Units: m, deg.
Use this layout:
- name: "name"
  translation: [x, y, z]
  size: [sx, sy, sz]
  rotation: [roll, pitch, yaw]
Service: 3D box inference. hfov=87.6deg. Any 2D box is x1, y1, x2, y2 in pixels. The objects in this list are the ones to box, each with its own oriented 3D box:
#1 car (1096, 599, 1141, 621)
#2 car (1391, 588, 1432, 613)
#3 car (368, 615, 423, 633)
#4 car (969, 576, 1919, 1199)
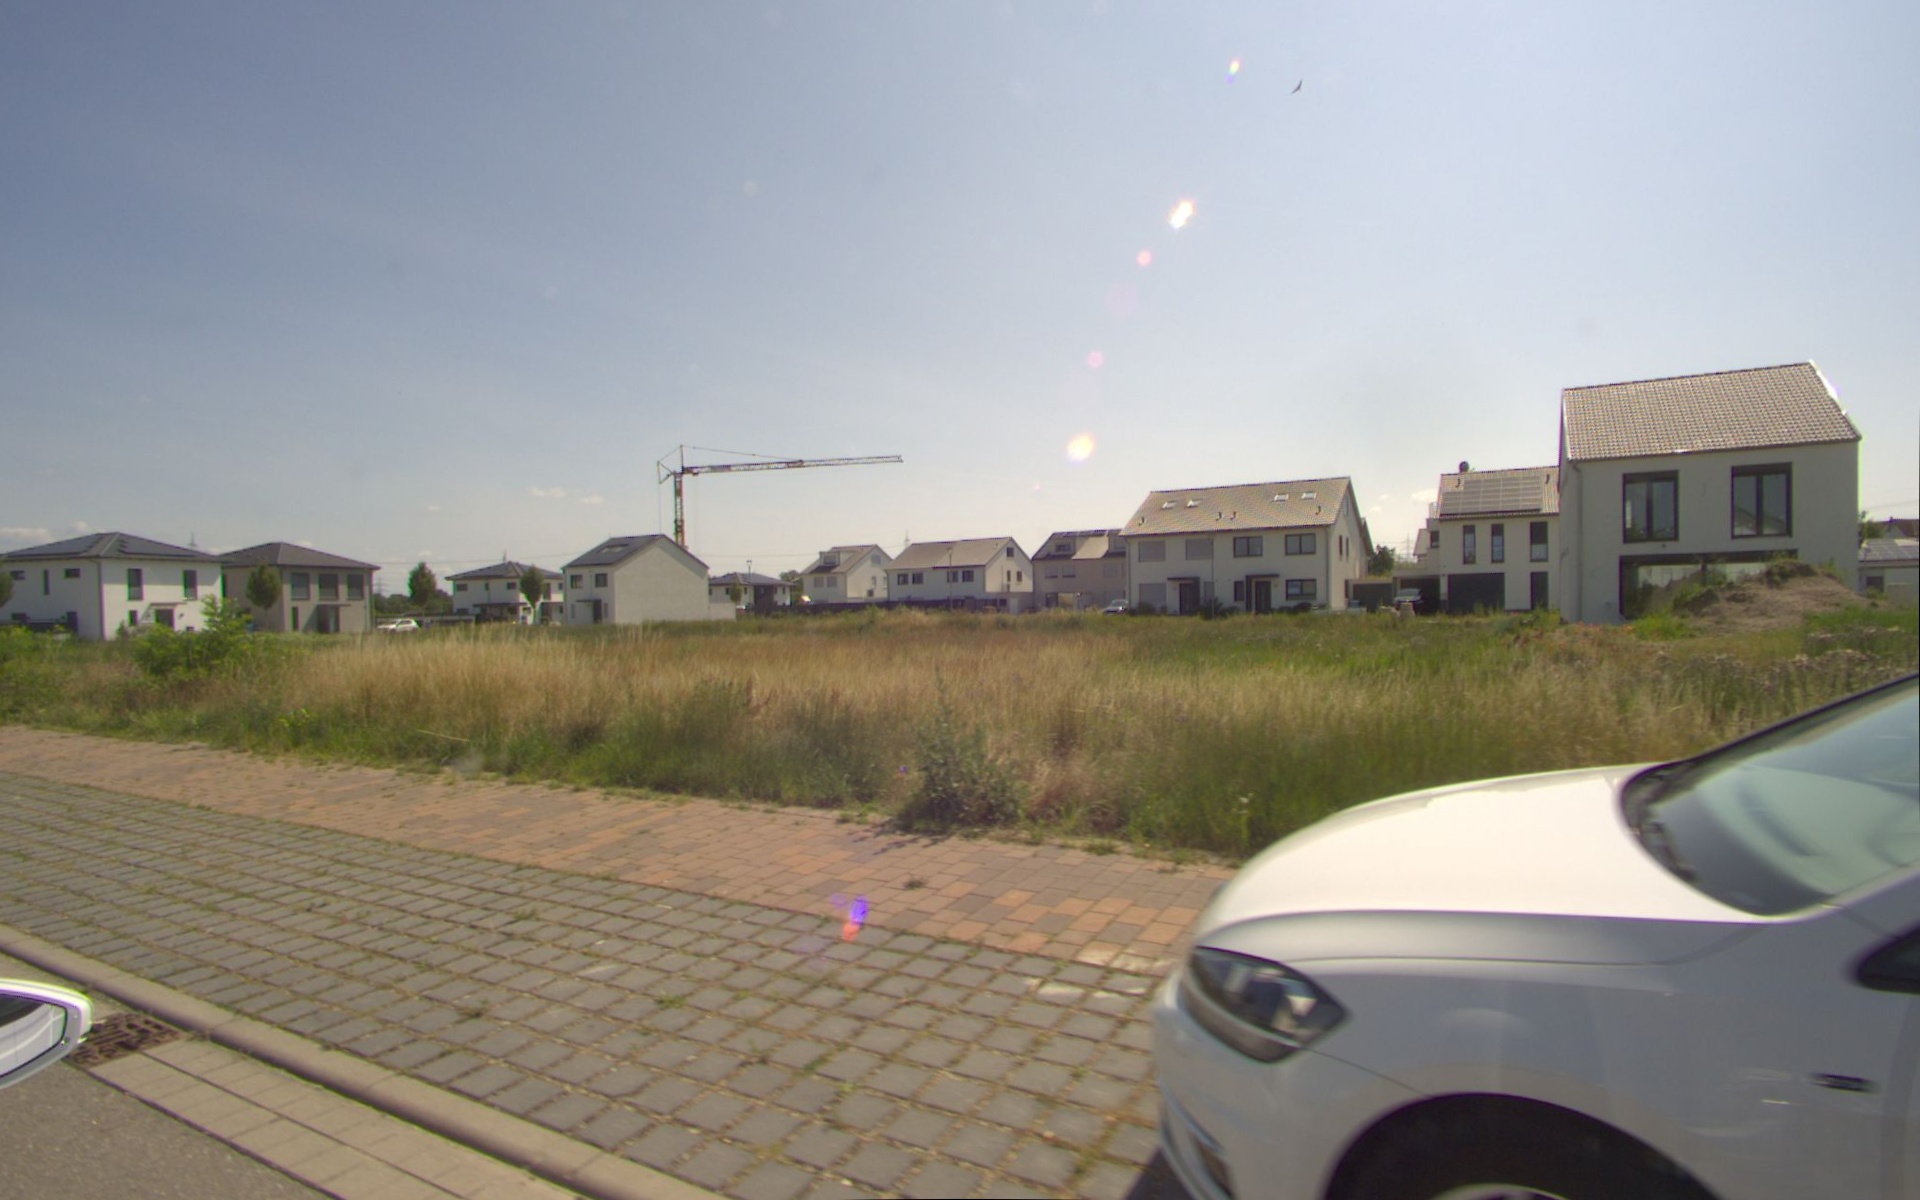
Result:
- name: "car"
  translation: [11.892, 0.758, 74.913]
  size: [1.790, 1.595, 3.977]
  rotation: [-1, 0, 33]
- name: "car"
  translation: [28.901, 0.051, 64.036]
  size: [1.790, 1.532, 3.977]
  rotation: [-1, 0, 33]
- name: "car"
  translation: [-48.324, 2.024, 85.840]
  size: [1.719, 1.416, 3.994]
  rotation: [-2, -1, 16]
- name: "car"
  translation: [2.239, 0.685, 1.786]
  size: [4.104, 1.439, 1.771]
  rotation: [-1, 2, 31]
